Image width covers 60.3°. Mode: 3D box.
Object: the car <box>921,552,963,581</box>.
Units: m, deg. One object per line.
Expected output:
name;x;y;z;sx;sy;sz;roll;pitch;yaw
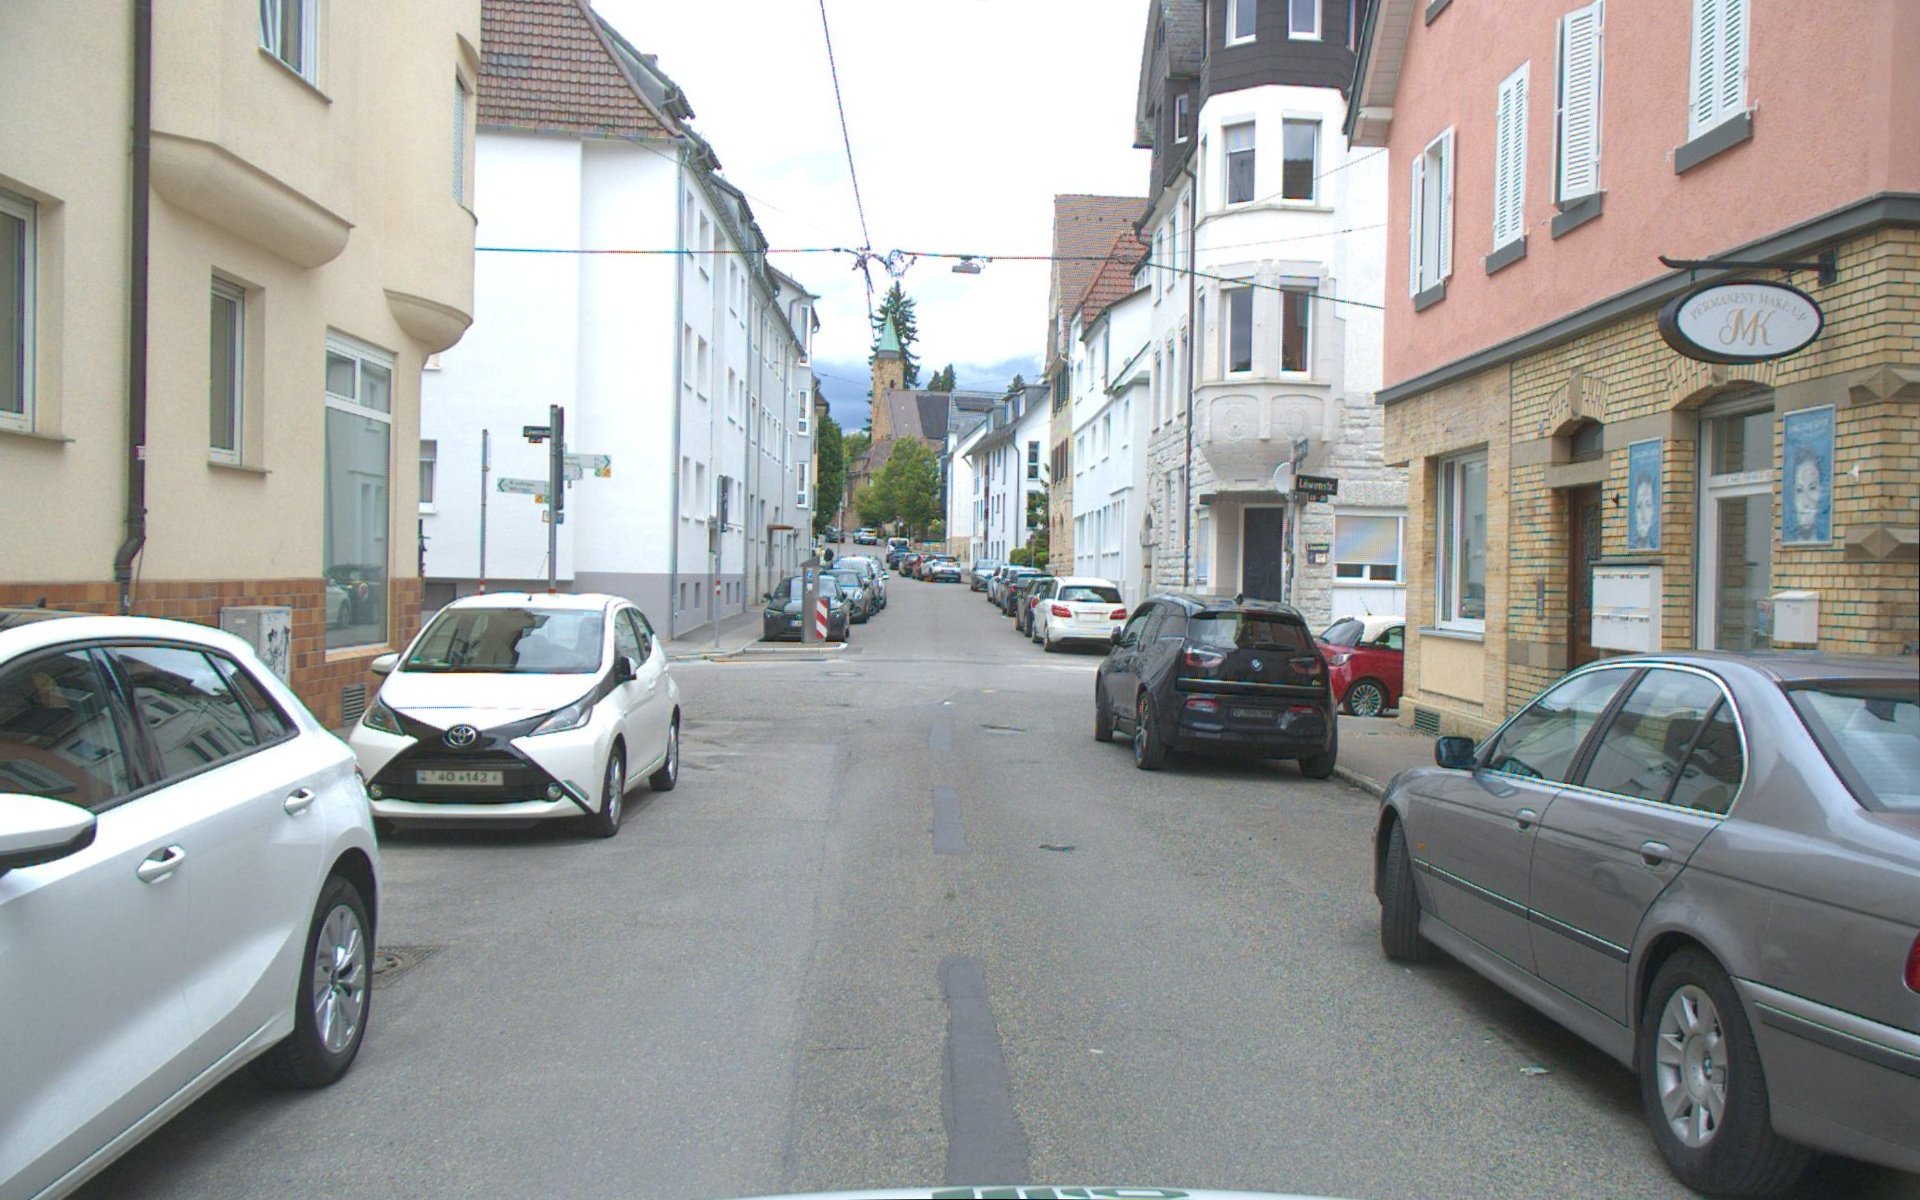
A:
car;-1.053;-1.904;94.079;1.752;1.505;3.617;1;3;-11

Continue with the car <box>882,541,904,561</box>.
car;-5.395;-3.968;133.605;1.635;1.505;3.624;1;2;-4

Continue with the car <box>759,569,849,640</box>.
car;-3.376;0.055;36.436;1.784;1.415;4.296;0;2;-3

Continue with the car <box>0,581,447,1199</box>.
car;-2.640;0.722;3.617;1.716;1.457;4.369;-2;0;-1

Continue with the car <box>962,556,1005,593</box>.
car;1.049;-1.202;75.696;1.635;1.504;3.624;3;2;-4

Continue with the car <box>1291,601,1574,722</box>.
car;6.823;0.874;24.044;3.547;1.505;1.670;3;1;-9

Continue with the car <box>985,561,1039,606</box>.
car;1.940;-0.654;62.511;1.635;1.504;3.624;3;2;-4

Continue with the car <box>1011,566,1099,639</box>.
car;2.334;0.025;41.335;1.635;1.559;4.025;3;2;-4

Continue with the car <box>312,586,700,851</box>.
car;-2.879;0.685;11.310;1.633;1.459;3.815;-2;0;-1

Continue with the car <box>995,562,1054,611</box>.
car;2.219;-0.484;57.912;1.635;1.504;3.624;3;2;-4

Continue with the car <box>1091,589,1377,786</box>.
car;2.473;0.726;15.941;1.782;1.570;4.024;3;0;-4

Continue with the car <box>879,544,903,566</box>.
car;-5.128;-3.340;121.864;1.635;1.505;3.624;1;2;-4

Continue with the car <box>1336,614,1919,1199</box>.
car;2.776;0.825;5.590;1.751;1.441;4.576;4;-1;-2

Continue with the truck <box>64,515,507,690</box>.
truck;-10.623;0.068;26.593;6.151;2.596;2.313;1;-1;-9

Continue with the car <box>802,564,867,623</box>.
car;-3.434;-0.204;45.798;1.696;1.515;3.718;0;2;-3

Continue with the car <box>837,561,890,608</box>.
car;-3.239;-0.538;55.744;1.696;1.473;3.718;0;2;-3

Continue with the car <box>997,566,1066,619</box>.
car;2.195;-0.273;51.577;1.635;1.409;4.025;3;2;-4

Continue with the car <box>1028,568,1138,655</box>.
car;2.630;0.199;36.250;1.784;1.626;4.025;3;2;-4

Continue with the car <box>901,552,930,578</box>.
car;-2.838;-2.252;104.951;1.635;1.505;3.624;1;2;-4

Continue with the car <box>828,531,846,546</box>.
car;-12.911;-6.423;173.529;1.637;1.505;3.619;1;2;-9

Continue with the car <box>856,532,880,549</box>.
car;-9.627;-6.185;172.316;2.142;1.722;3.619;1;2;-9
